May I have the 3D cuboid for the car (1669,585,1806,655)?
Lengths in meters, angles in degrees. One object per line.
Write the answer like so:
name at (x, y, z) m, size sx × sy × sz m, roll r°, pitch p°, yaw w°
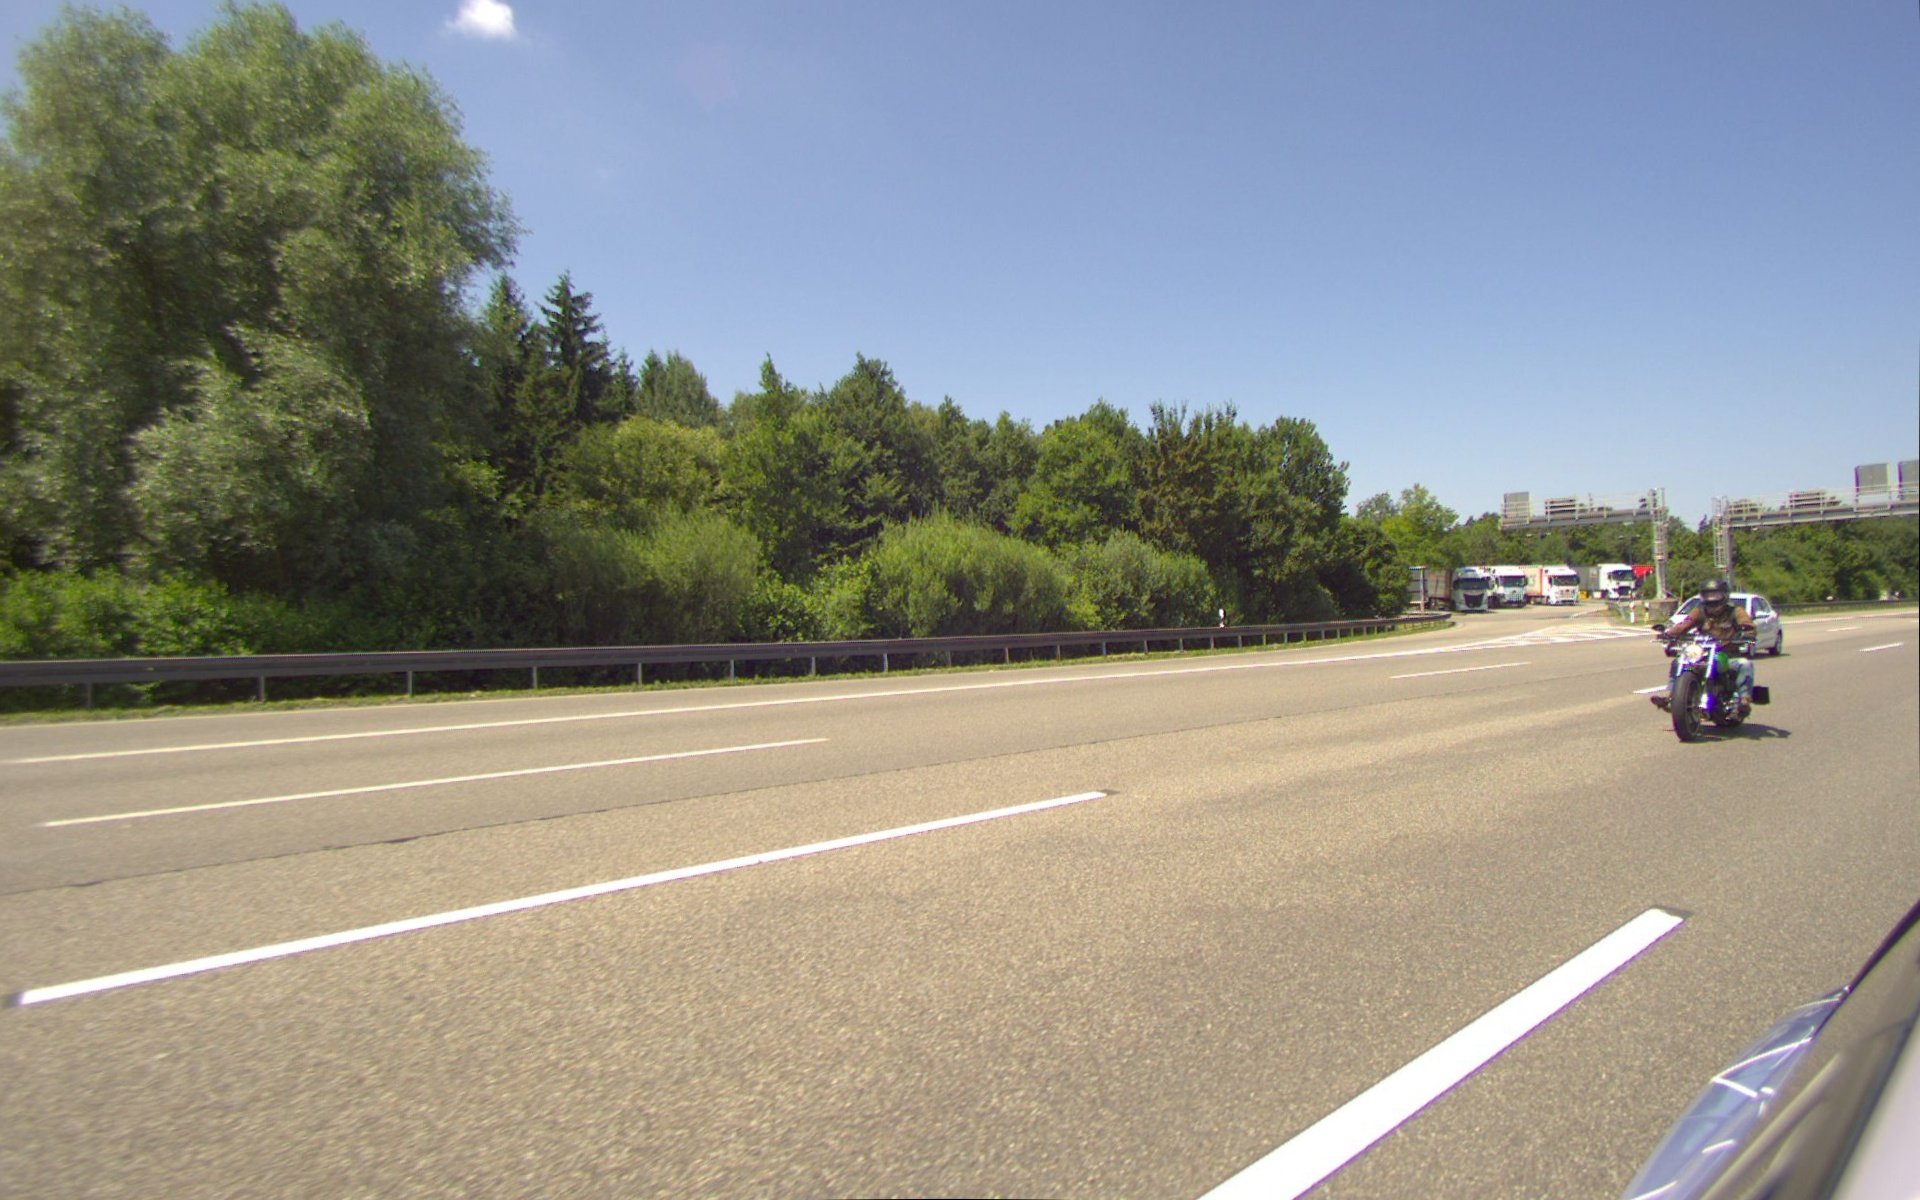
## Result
car at (18.699, 0.424, 24.277) m, size 4.405 × 1.538 × 1.753 m, roll 0°, pitch 0°, yaw -41°

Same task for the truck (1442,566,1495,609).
truck at (45.411, -1.138, 90.609) m, size 2.454 × 3.656 × 6.307 m, roll -2°, pitch 1°, yaw 11°

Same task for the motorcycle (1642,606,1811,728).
motorcycle at (8.195, 0.663, 10.783) m, size 2.388 × 1.150 × 0.538 m, roll -1°, pitch 1°, yaw -30°

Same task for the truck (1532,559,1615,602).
truck at (69.079, -2.226, 114.381) m, size 2.782 × 4.515 × 12.046 m, roll -2°, pitch 1°, yaw 5°

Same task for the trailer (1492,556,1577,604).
trailer at (61.313, -2.162, 108.483) m, size 3.225 × 4.766 × 12.038 m, roll -2°, pitch 1°, yaw 6°

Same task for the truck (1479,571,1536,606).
truck at (53.348, -1.213, 98.867) m, size 2.416 × 3.163 × 8.996 m, roll -2°, pitch 1°, yaw 12°

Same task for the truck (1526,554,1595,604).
truck at (60.613, -2.086, 102.314) m, size 3.211 × 4.783 × 7.176 m, roll -2°, pitch 1°, yaw 7°

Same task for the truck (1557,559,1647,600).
truck at (74.515, -2.299, 117.971) m, size 2.783 × 4.516 × 14.615 m, roll 0°, pitch 0°, yaw 7°

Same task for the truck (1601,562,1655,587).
truck at (84.939, -3.265, 128.866) m, size 1.966 × 2.986 × 8.733 m, roll -2°, pitch 1°, yaw 7°

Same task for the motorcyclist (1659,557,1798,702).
motorcyclist at (8.134, 0.280, 10.723) m, size 1.003 × 1.445 × 0.856 m, roll -1°, pitch 1°, yaw -29°

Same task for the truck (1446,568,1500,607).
truck at (50.033, -1.256, 98.927) m, size 2.416 × 3.472 × 8.996 m, roll -2°, pitch 1°, yaw 12°

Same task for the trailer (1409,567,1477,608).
trailer at (46.902, -1.268, 98.784) m, size 2.465 × 3.659 × 13.330 m, roll -2°, pitch 1°, yaw 10°
